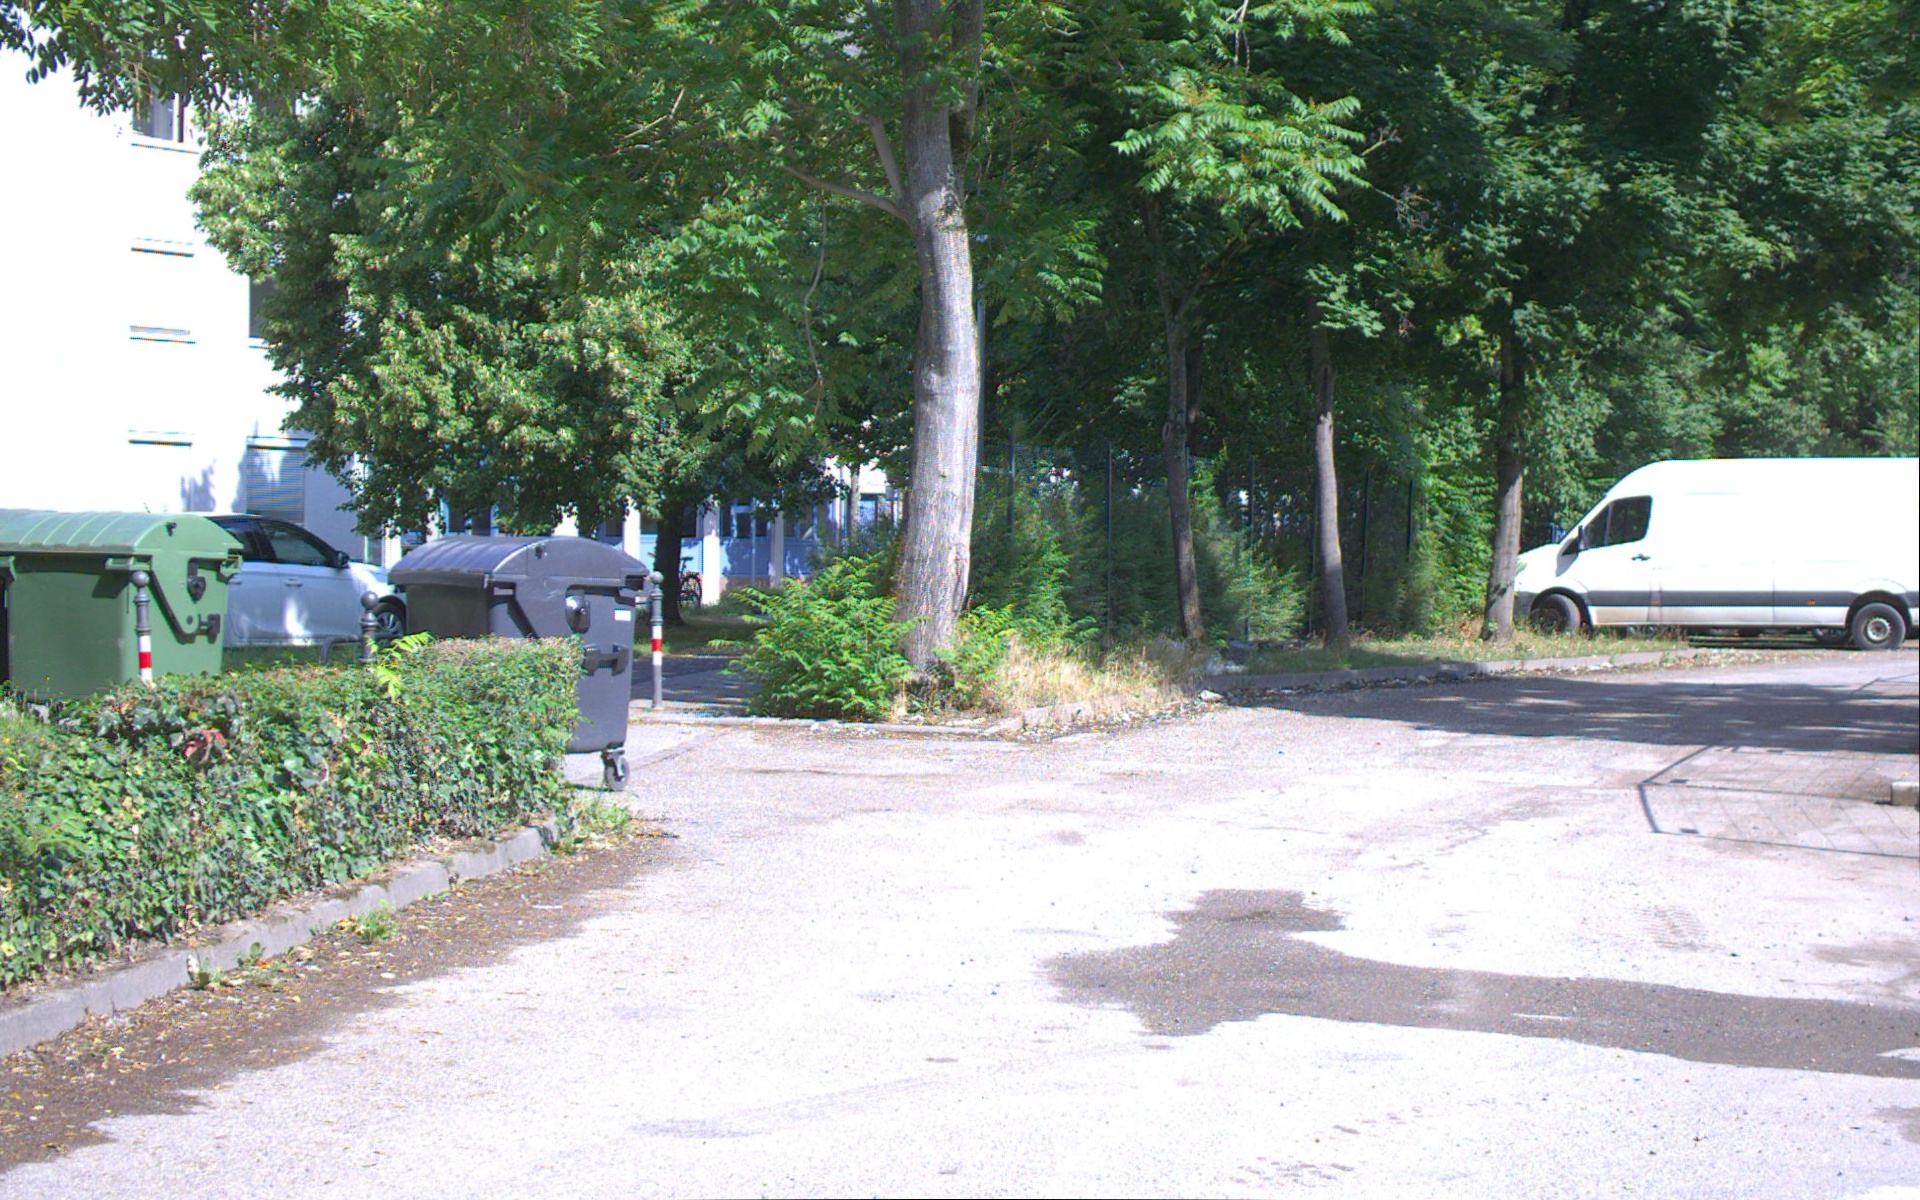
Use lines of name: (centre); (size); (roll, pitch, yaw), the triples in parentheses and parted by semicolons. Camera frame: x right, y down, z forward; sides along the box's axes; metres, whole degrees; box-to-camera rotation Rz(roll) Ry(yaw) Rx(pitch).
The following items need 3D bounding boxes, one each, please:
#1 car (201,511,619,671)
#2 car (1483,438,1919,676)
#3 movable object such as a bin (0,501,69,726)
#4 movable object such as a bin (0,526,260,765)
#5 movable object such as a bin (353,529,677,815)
car: (-5.131, -0.124, 32.534); (1.756, 1.415, 3.909); (1, 1, 33)
car: (10.956, -0.604, 47.814); (6.959, 3.037, 1.998); (2, 1, 18)
movable object such as a bin: (-6.649, 0.072, 22.560); (1.232, 1.447, 0.879); (2, -1, 27)
movable object such as a bin: (-5.368, 0.282, 21.916); (1.340, 1.447, 1.101); (2, -1, 23)
movable object such as a bin: (-2.525, 0.404, 19.443); (1.246, 1.477, 1.296); (3, 2, -37)
